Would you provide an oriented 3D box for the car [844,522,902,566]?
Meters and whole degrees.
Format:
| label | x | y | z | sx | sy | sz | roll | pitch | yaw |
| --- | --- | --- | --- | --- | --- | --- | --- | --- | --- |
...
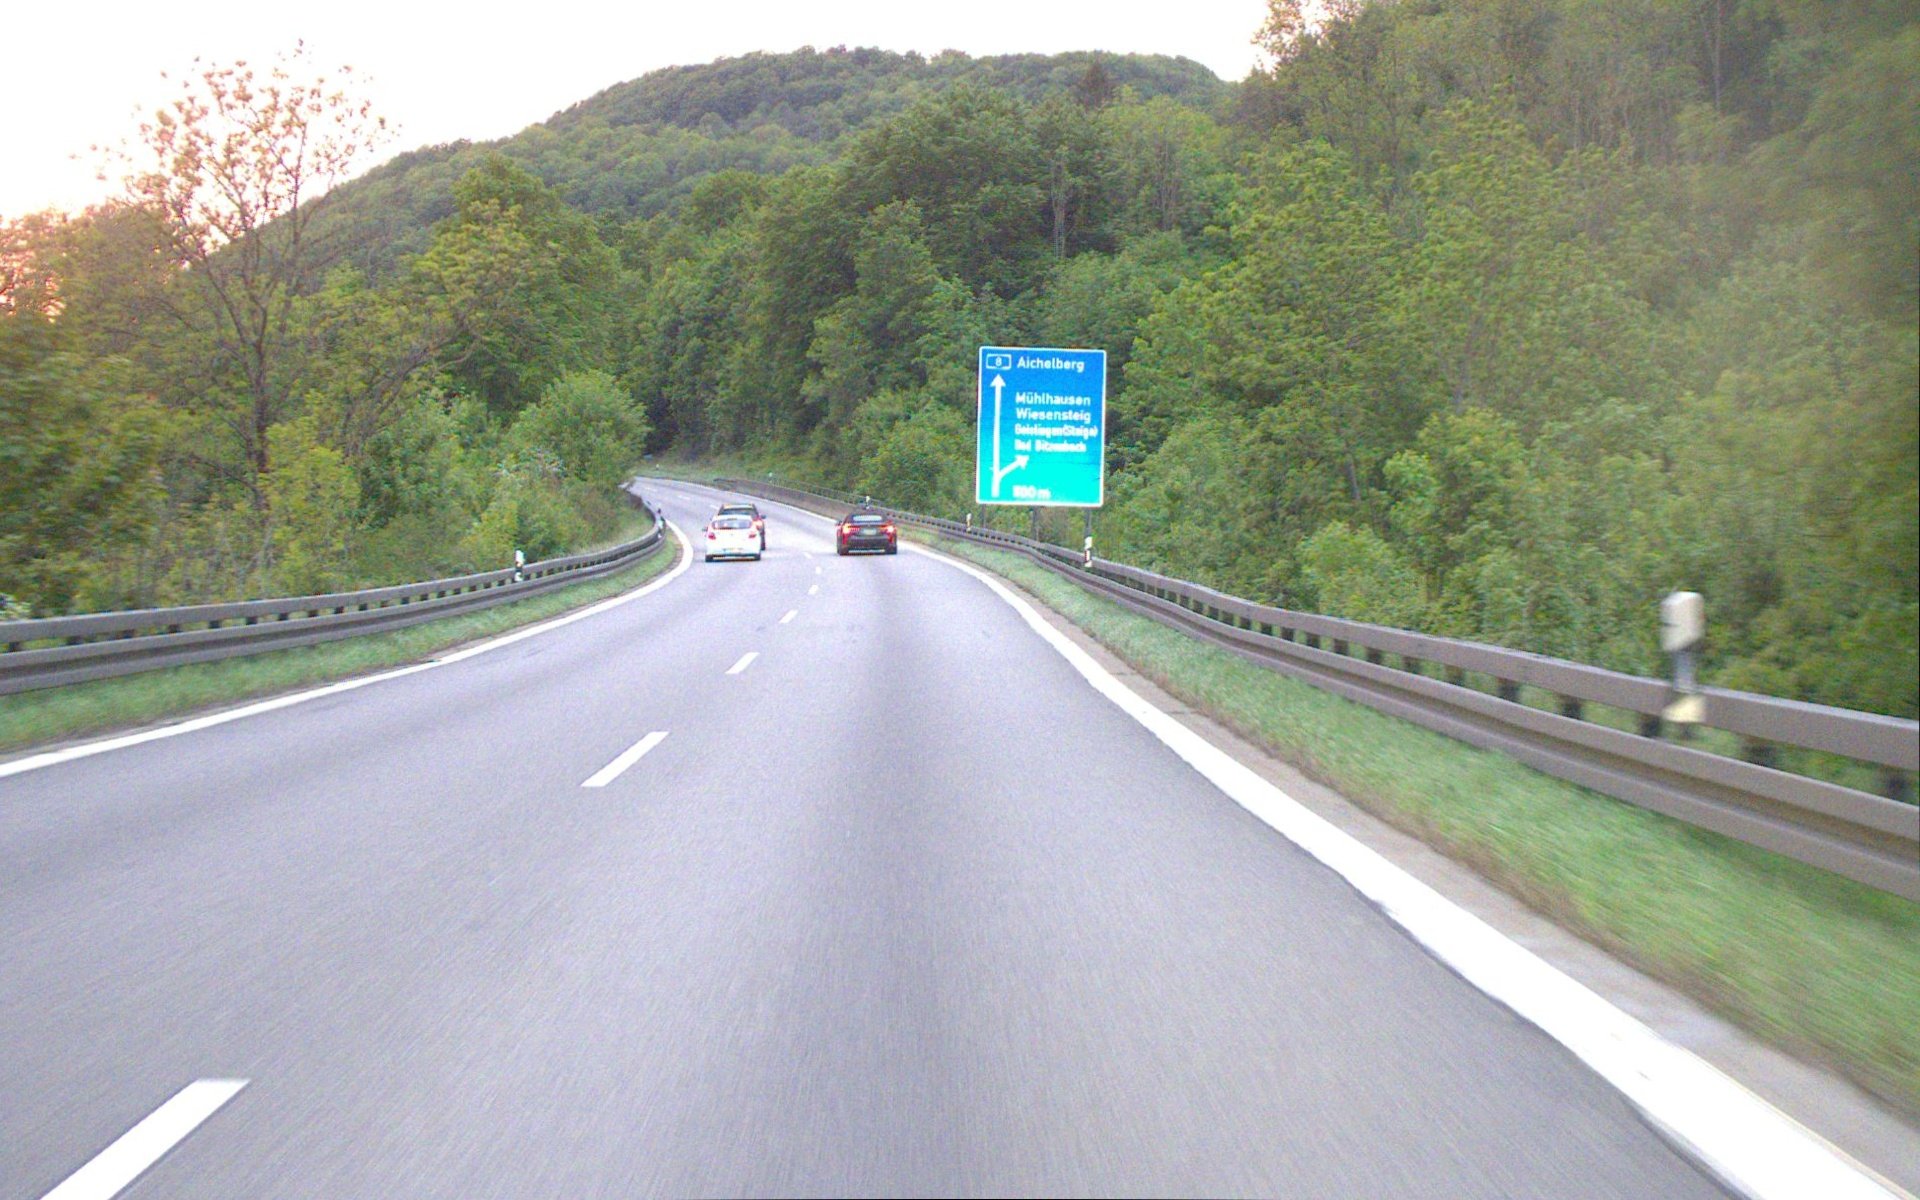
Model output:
| label | x | y | z | sx | sy | sz | roll | pitch | yaw |
| --- | --- | --- | --- | --- | --- | --- | --- | --- | --- |
| car | -2.864 | -1.869 | 114.030 | 1.878 | 1.461 | 4.000 | 0 | 1 | -1 |

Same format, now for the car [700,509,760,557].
| label | x | y | z | sx | sy | sz | roll | pitch | yaw |
| --- | --- | --- | --- | --- | --- | --- | --- | --- | --- |
| car | -7.323 | -2.139 | 109.671 | 1.718 | 1.496 | 4.000 | 0 | 1 | -1 |
